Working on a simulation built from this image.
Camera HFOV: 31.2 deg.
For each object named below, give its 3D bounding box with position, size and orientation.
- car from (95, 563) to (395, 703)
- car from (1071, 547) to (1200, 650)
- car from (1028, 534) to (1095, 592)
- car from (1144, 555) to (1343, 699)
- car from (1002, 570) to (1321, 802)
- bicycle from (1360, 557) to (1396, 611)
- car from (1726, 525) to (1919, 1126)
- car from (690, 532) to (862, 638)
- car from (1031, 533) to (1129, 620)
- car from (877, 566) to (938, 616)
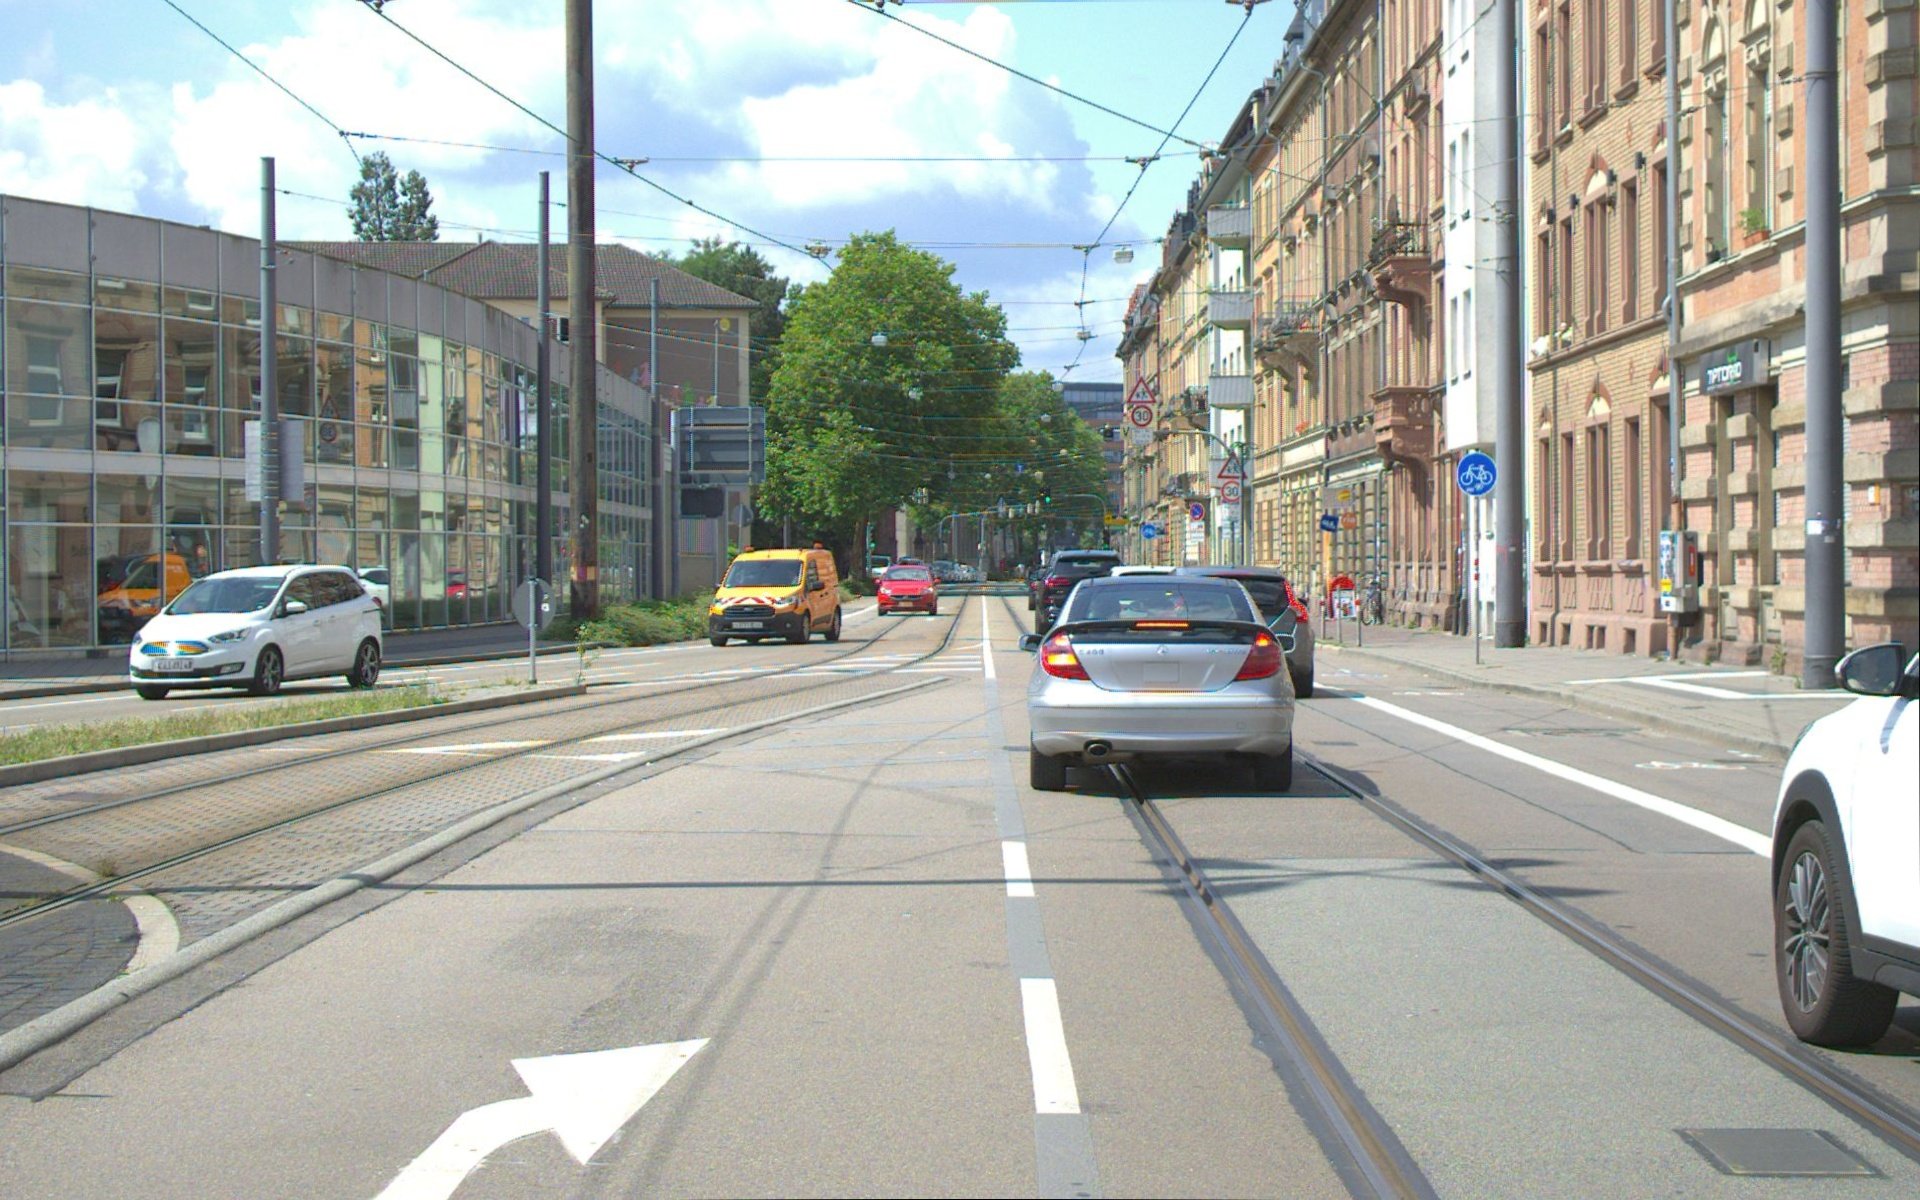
[{"bbox_3d":[-9.126,0.383,44.273,1.768,1.598,4.489,-2,1,18],"label":"car"},{"bbox_3d":[2.703,-0.052,53.547,1.814,1.519,3.956,-1,1,0],"label":"car"},{"bbox_3d":[3.298,-1.219,112.521,1.993,1.853,4.000,-1,1,-1],"label":"car"},{"bbox_3d":[3.173,0.264,39.175,1.814,1.519,4.085,0,1,-1],"label":"car"},{"bbox_3d":[1.279,0.517,23.482,1.814,1.415,4.188,-1,1,-1],"label":"car"},{"bbox_3d":[9.357,-0.359,77.015,0.586,1.174,2.205,-1,1,1],"label":"bicycle"},{"bbox_3d":[3.548,0.631,9.174,1.852,1.628,4.181,1,0,-3],"label":"car"},{"bbox_3d":[-3.409,-0.310,64.647,1.912,1.859,4.364,-2,1,15],"label":"car"},{"bbox_3d":[2.380,-0.476,68.833,1.814,1.656,4.085,-1,1,0],"label":"car"},{"bbox_3d":[-1.529,-0.281,100.755,1.702,1.423,3.902,-1,1,0],"label":"car"}]
